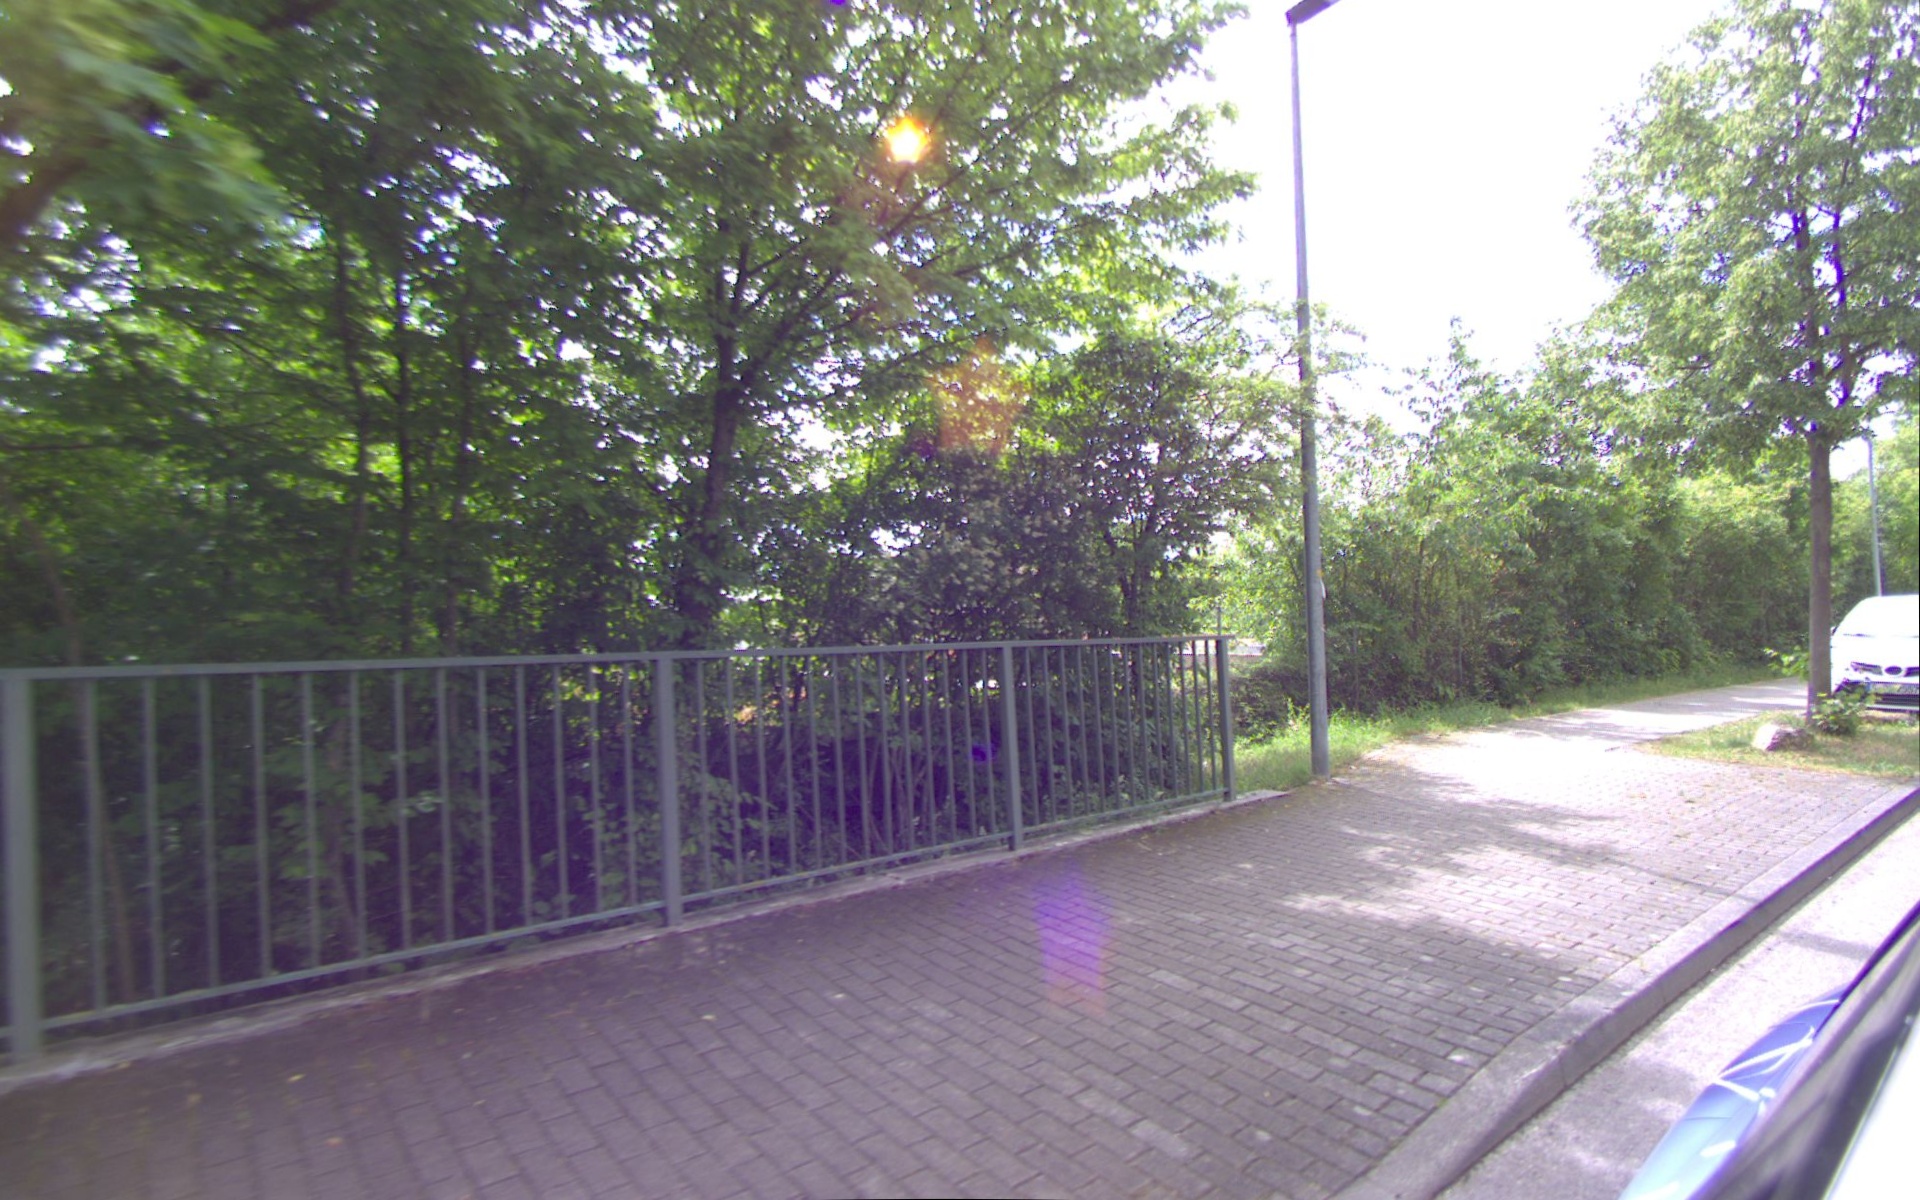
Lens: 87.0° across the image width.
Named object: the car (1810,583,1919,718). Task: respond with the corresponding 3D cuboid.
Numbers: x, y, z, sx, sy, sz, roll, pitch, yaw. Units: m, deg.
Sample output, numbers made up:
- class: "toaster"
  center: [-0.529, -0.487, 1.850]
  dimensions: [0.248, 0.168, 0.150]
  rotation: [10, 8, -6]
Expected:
- class: "car"
  center: [13.141, 0.616, 13.597]
  dimensions: [4.292, 1.620, 1.809]
  rotation: [0, 0, -38]
